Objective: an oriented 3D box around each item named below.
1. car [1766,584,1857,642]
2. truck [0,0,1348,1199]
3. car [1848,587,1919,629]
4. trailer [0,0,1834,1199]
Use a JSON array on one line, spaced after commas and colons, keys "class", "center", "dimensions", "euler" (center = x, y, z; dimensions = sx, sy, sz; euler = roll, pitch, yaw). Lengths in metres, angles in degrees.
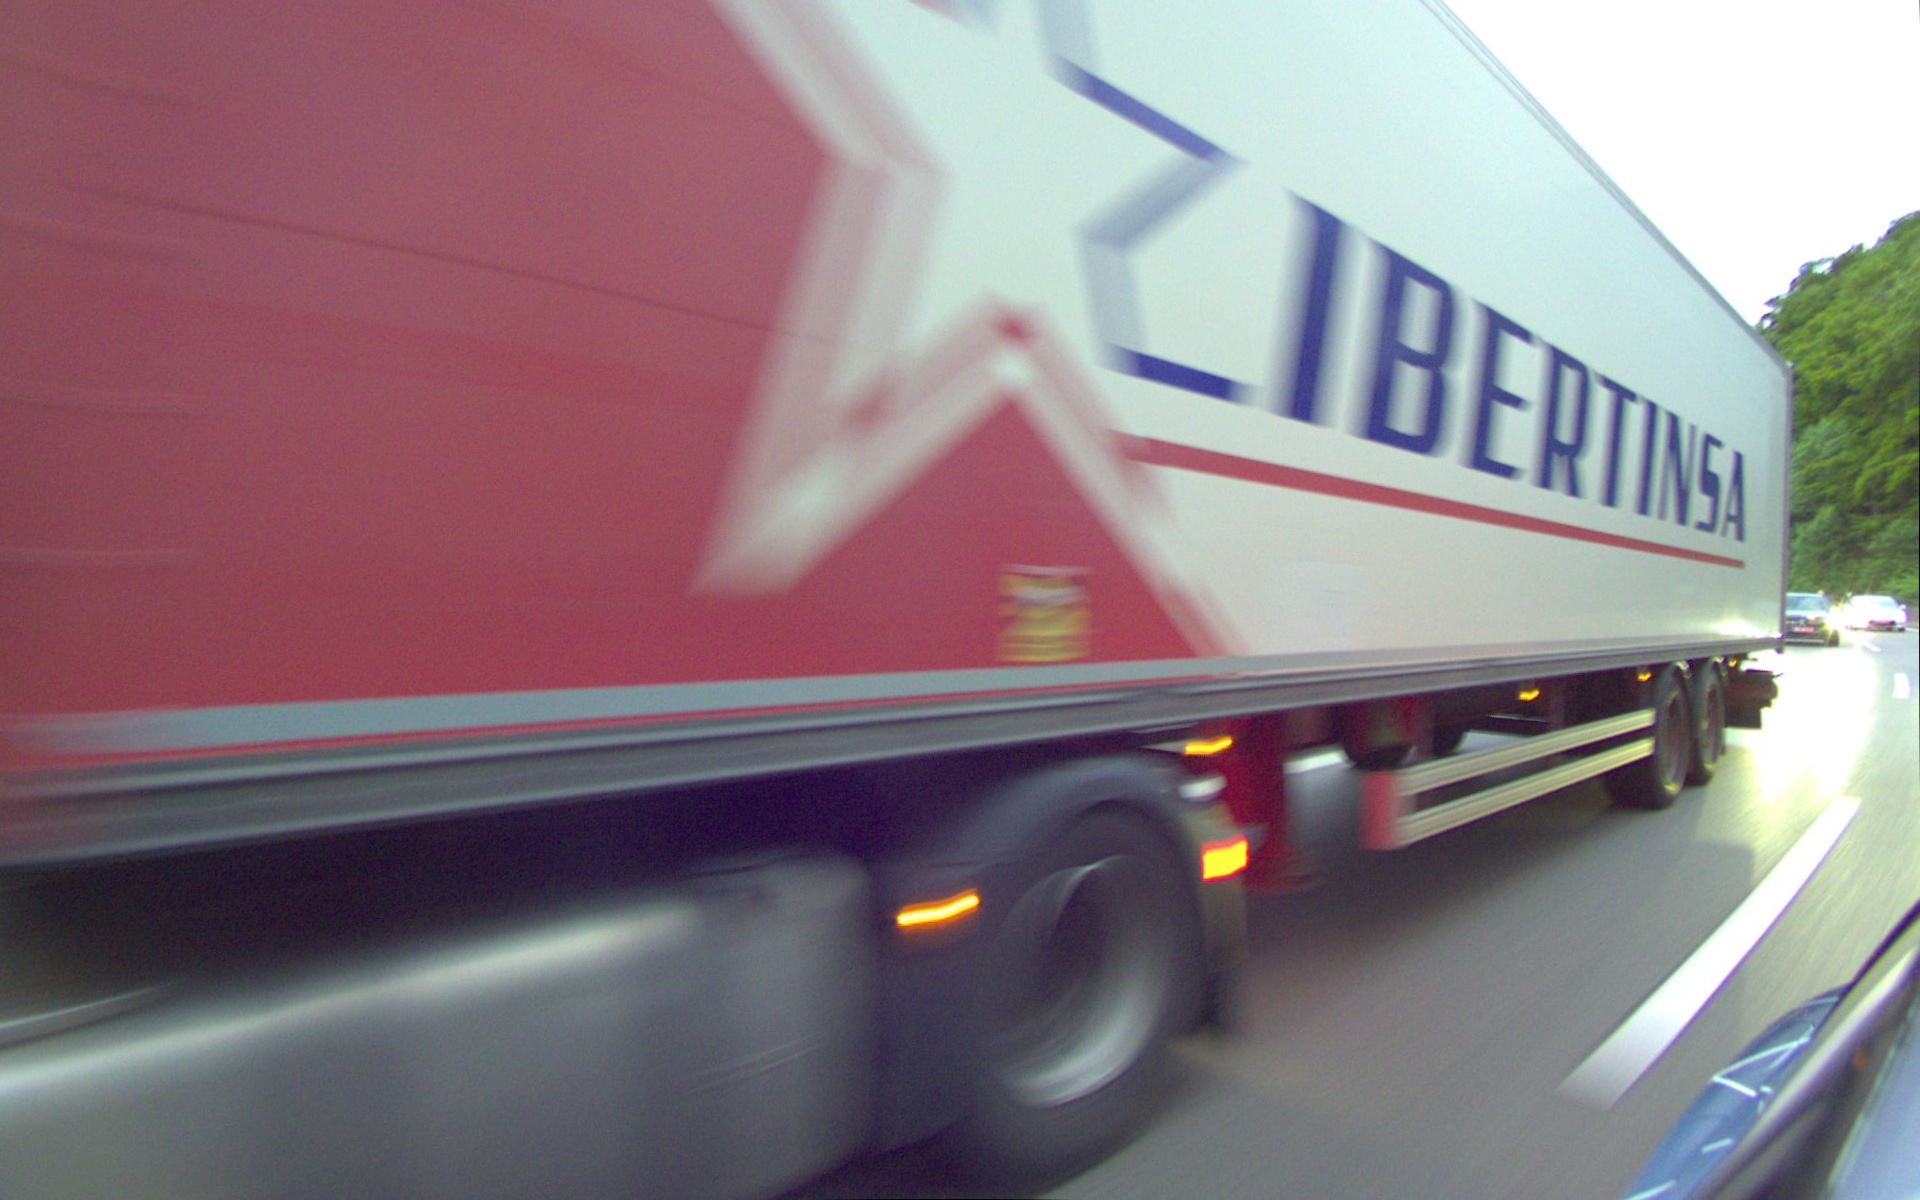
[{"class": "car", "center": [26.962, 0.355, 32.155], "dimensions": [1.989, 1.660, 3.946], "euler": [2, 2, 37]}, {"class": "truck", "center": [-2.101, -0.706, 2.304], "dimensions": [6.337, 4.196, 3.073], "euler": [0, 2, -43]}, {"class": "car", "center": [39.651, 0.311, 43.254], "dimensions": [1.989, 1.526, 3.950], "euler": [6, 5, 35]}, {"class": "trailer", "center": [2.797, -0.600, 6.802], "dimensions": [13.978, 4.019, 3.101], "euler": [0, 2, -43]}]
